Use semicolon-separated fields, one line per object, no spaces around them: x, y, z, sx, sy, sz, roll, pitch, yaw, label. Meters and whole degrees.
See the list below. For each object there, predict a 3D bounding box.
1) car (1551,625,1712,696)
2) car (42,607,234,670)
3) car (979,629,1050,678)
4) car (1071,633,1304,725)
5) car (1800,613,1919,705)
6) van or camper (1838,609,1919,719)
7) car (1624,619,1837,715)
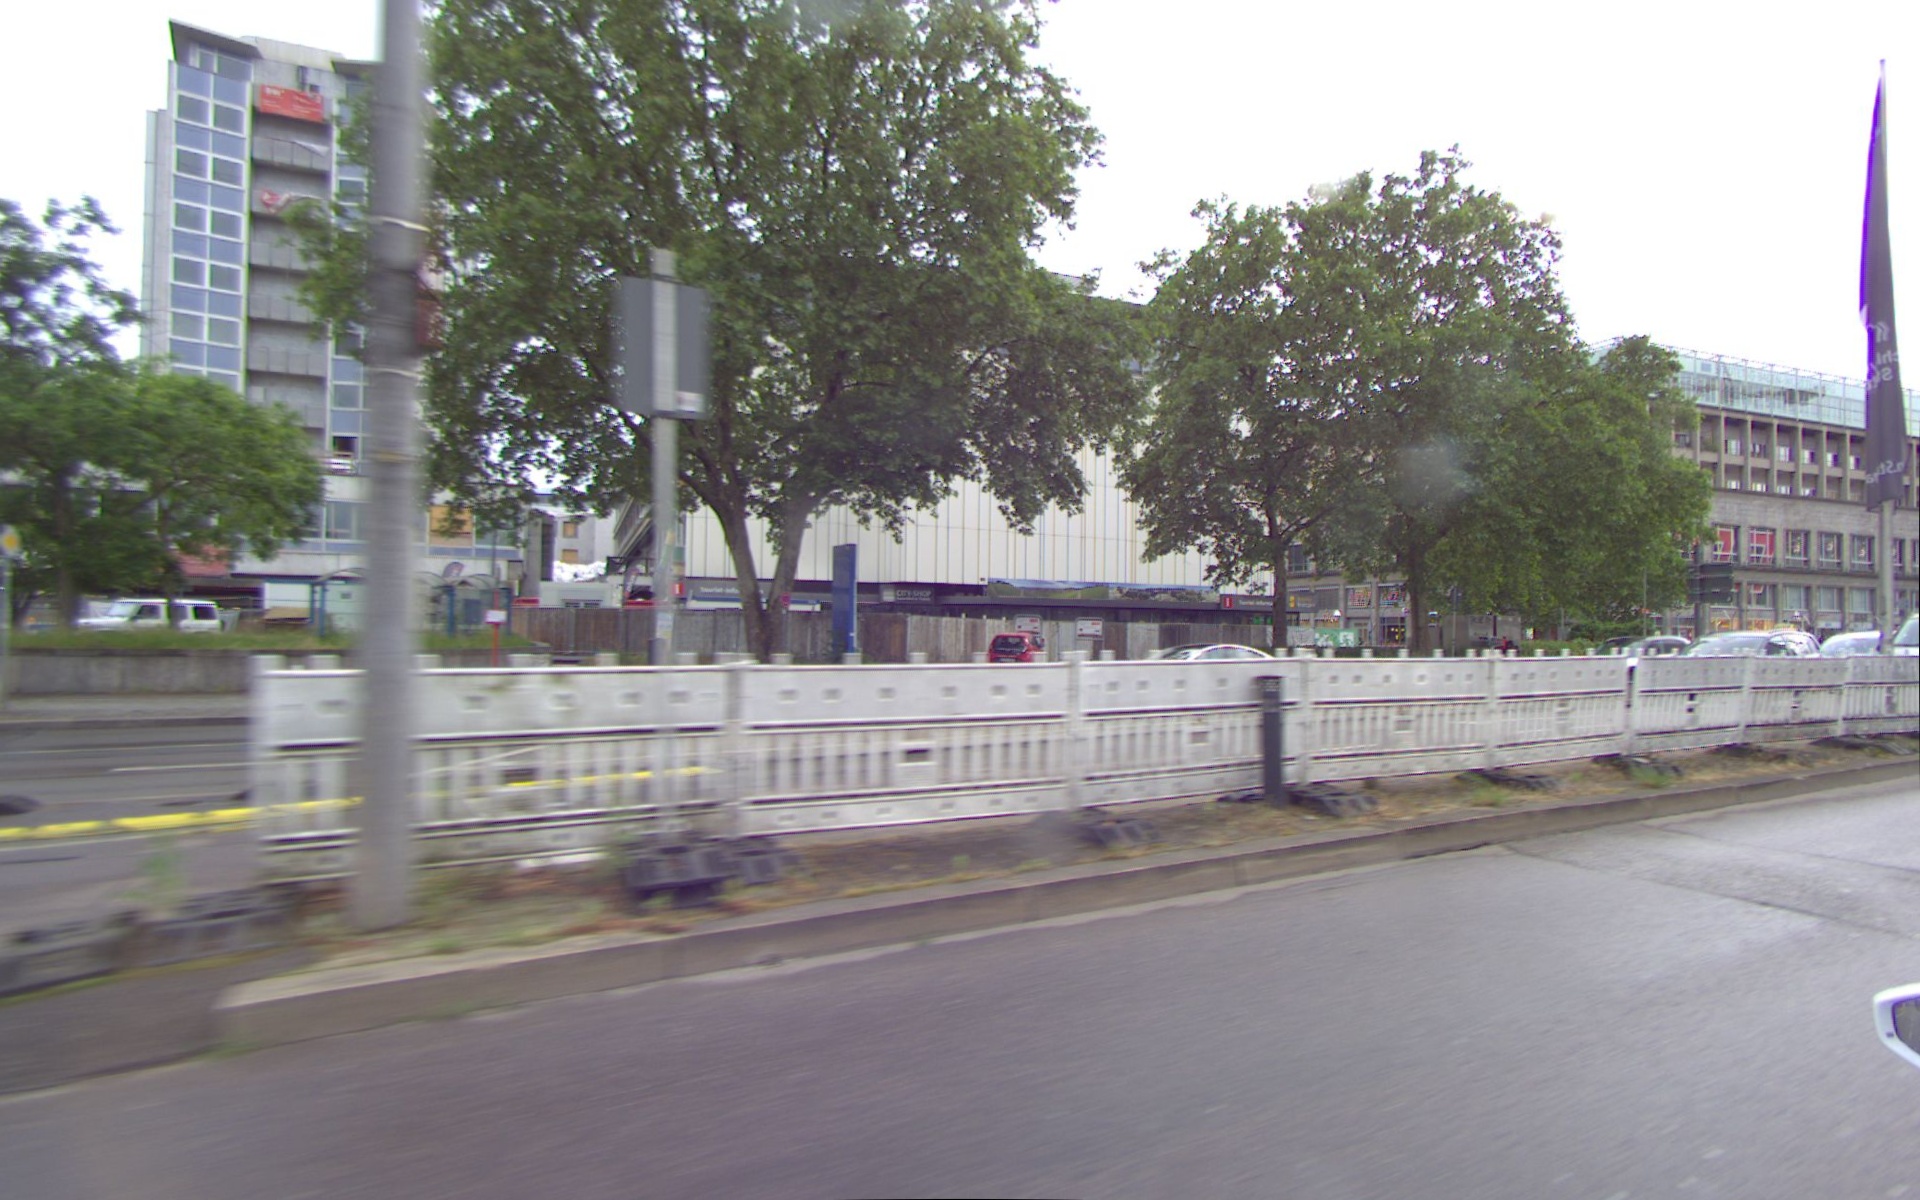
18.782;1.638;28.087;4.244;1.725;1.884;-1;0;-26;car
-28.725;1.272;35.277;1.999;2.040;4.825;-1;-1;30;car
1.967;1.841;35.338;1.815;1.563;3.746;-1;-1;13;car
4.948;1.618;21.730;4.754;1.653;1.987;-1;0;-26;car
22.986;1.367;24.694;4.507;1.877;1.907;-1;4;-27;car
18.579;1.095;18.375;5.321;1.844;1.939;0;0;-26;van or camper
16.136;1.317;21.027;4.244;1.725;1.884;-1;0;-26;car
